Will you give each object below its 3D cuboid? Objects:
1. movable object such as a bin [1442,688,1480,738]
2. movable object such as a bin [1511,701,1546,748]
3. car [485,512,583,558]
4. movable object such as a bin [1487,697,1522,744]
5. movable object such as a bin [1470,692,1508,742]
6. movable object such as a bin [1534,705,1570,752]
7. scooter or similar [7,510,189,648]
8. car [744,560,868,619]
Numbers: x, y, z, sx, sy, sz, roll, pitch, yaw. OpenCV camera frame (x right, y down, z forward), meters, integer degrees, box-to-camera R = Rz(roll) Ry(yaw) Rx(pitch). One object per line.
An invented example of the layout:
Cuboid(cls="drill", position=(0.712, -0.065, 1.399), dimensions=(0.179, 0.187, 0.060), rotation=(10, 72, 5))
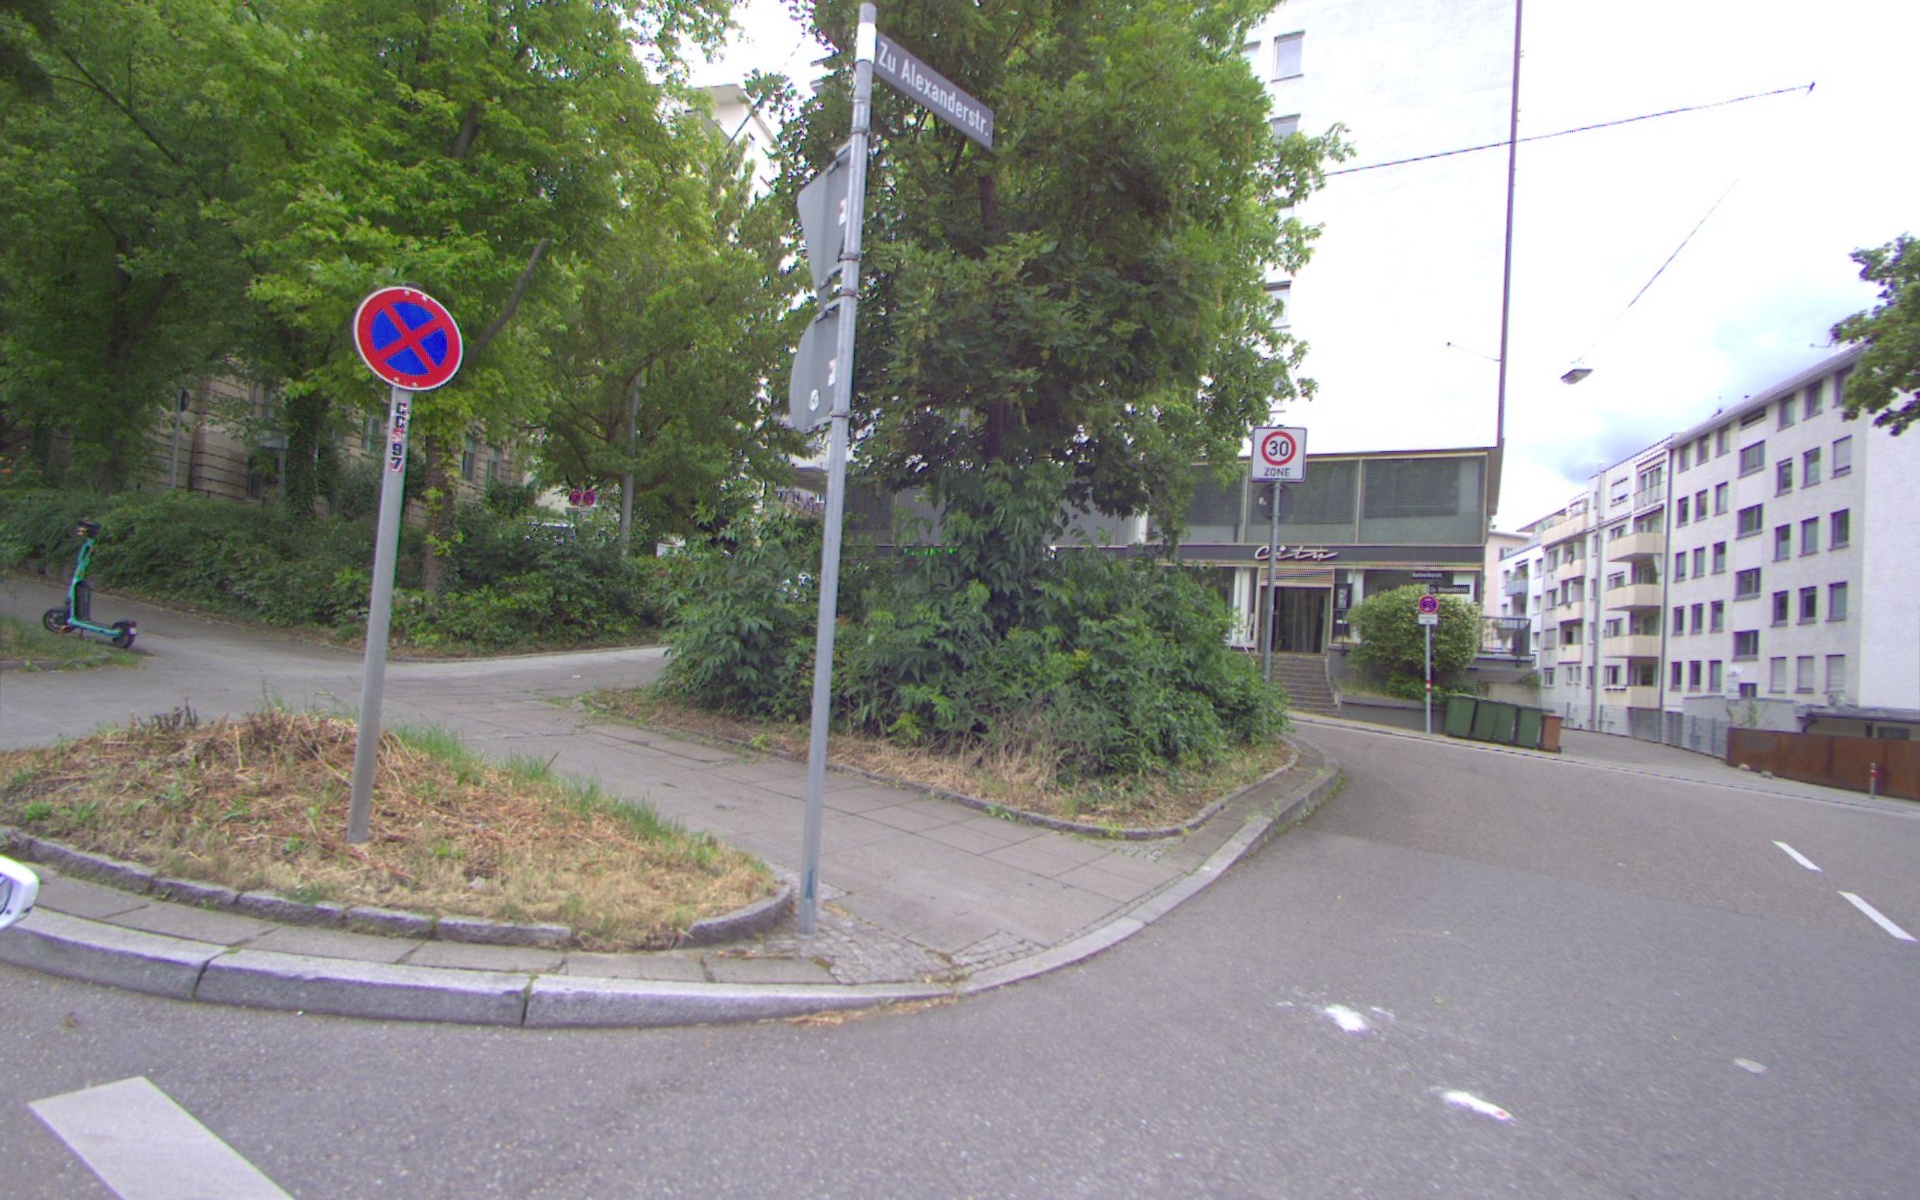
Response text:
Cuboid(cls="movable object such as a bin", position=(12.135, 2.724, 24.373), dimensions=(0.599, 1.092, 0.554), rotation=(7, 0, 12))
Cuboid(cls="movable object such as a bin", position=(13.896, 3.030, 24.596), dimensions=(0.485, 1.037, 0.547), rotation=(7, 0, 12))
Cuboid(cls="car", position=(-21.846, -3.299, 51.872), dimensions=(2.136, 1.959, 5.216), rotation=(4, 1, 8))
Cuboid(cls="movable object such as a bin", position=(13.363, 2.954, 24.702), dimensions=(0.528, 1.054, 0.536), rotation=(7, 0, 12))
Cuboid(cls="movable object such as a bin", position=(12.720, 2.806, 24.218), dimensions=(0.565, 1.082, 0.554), rotation=(7, 0, 12))
Cuboid(cls="movable object such as a bin", position=(14.402, 3.119, 24.487), dimensions=(0.485, 1.030, 0.547), rotation=(7, 0, 12))
Cuboid(cls="scooter or similar", position=(-8.858, -0.209, 10.344), dimensions=(1.528, 1.225, 0.632), rotation=(7, 0, 18))
Cuboid(cls="car", position=(-4.949, -0.295, 32.801), dimensions=(1.802, 1.591, 3.990), rotation=(7, 2, 29))
